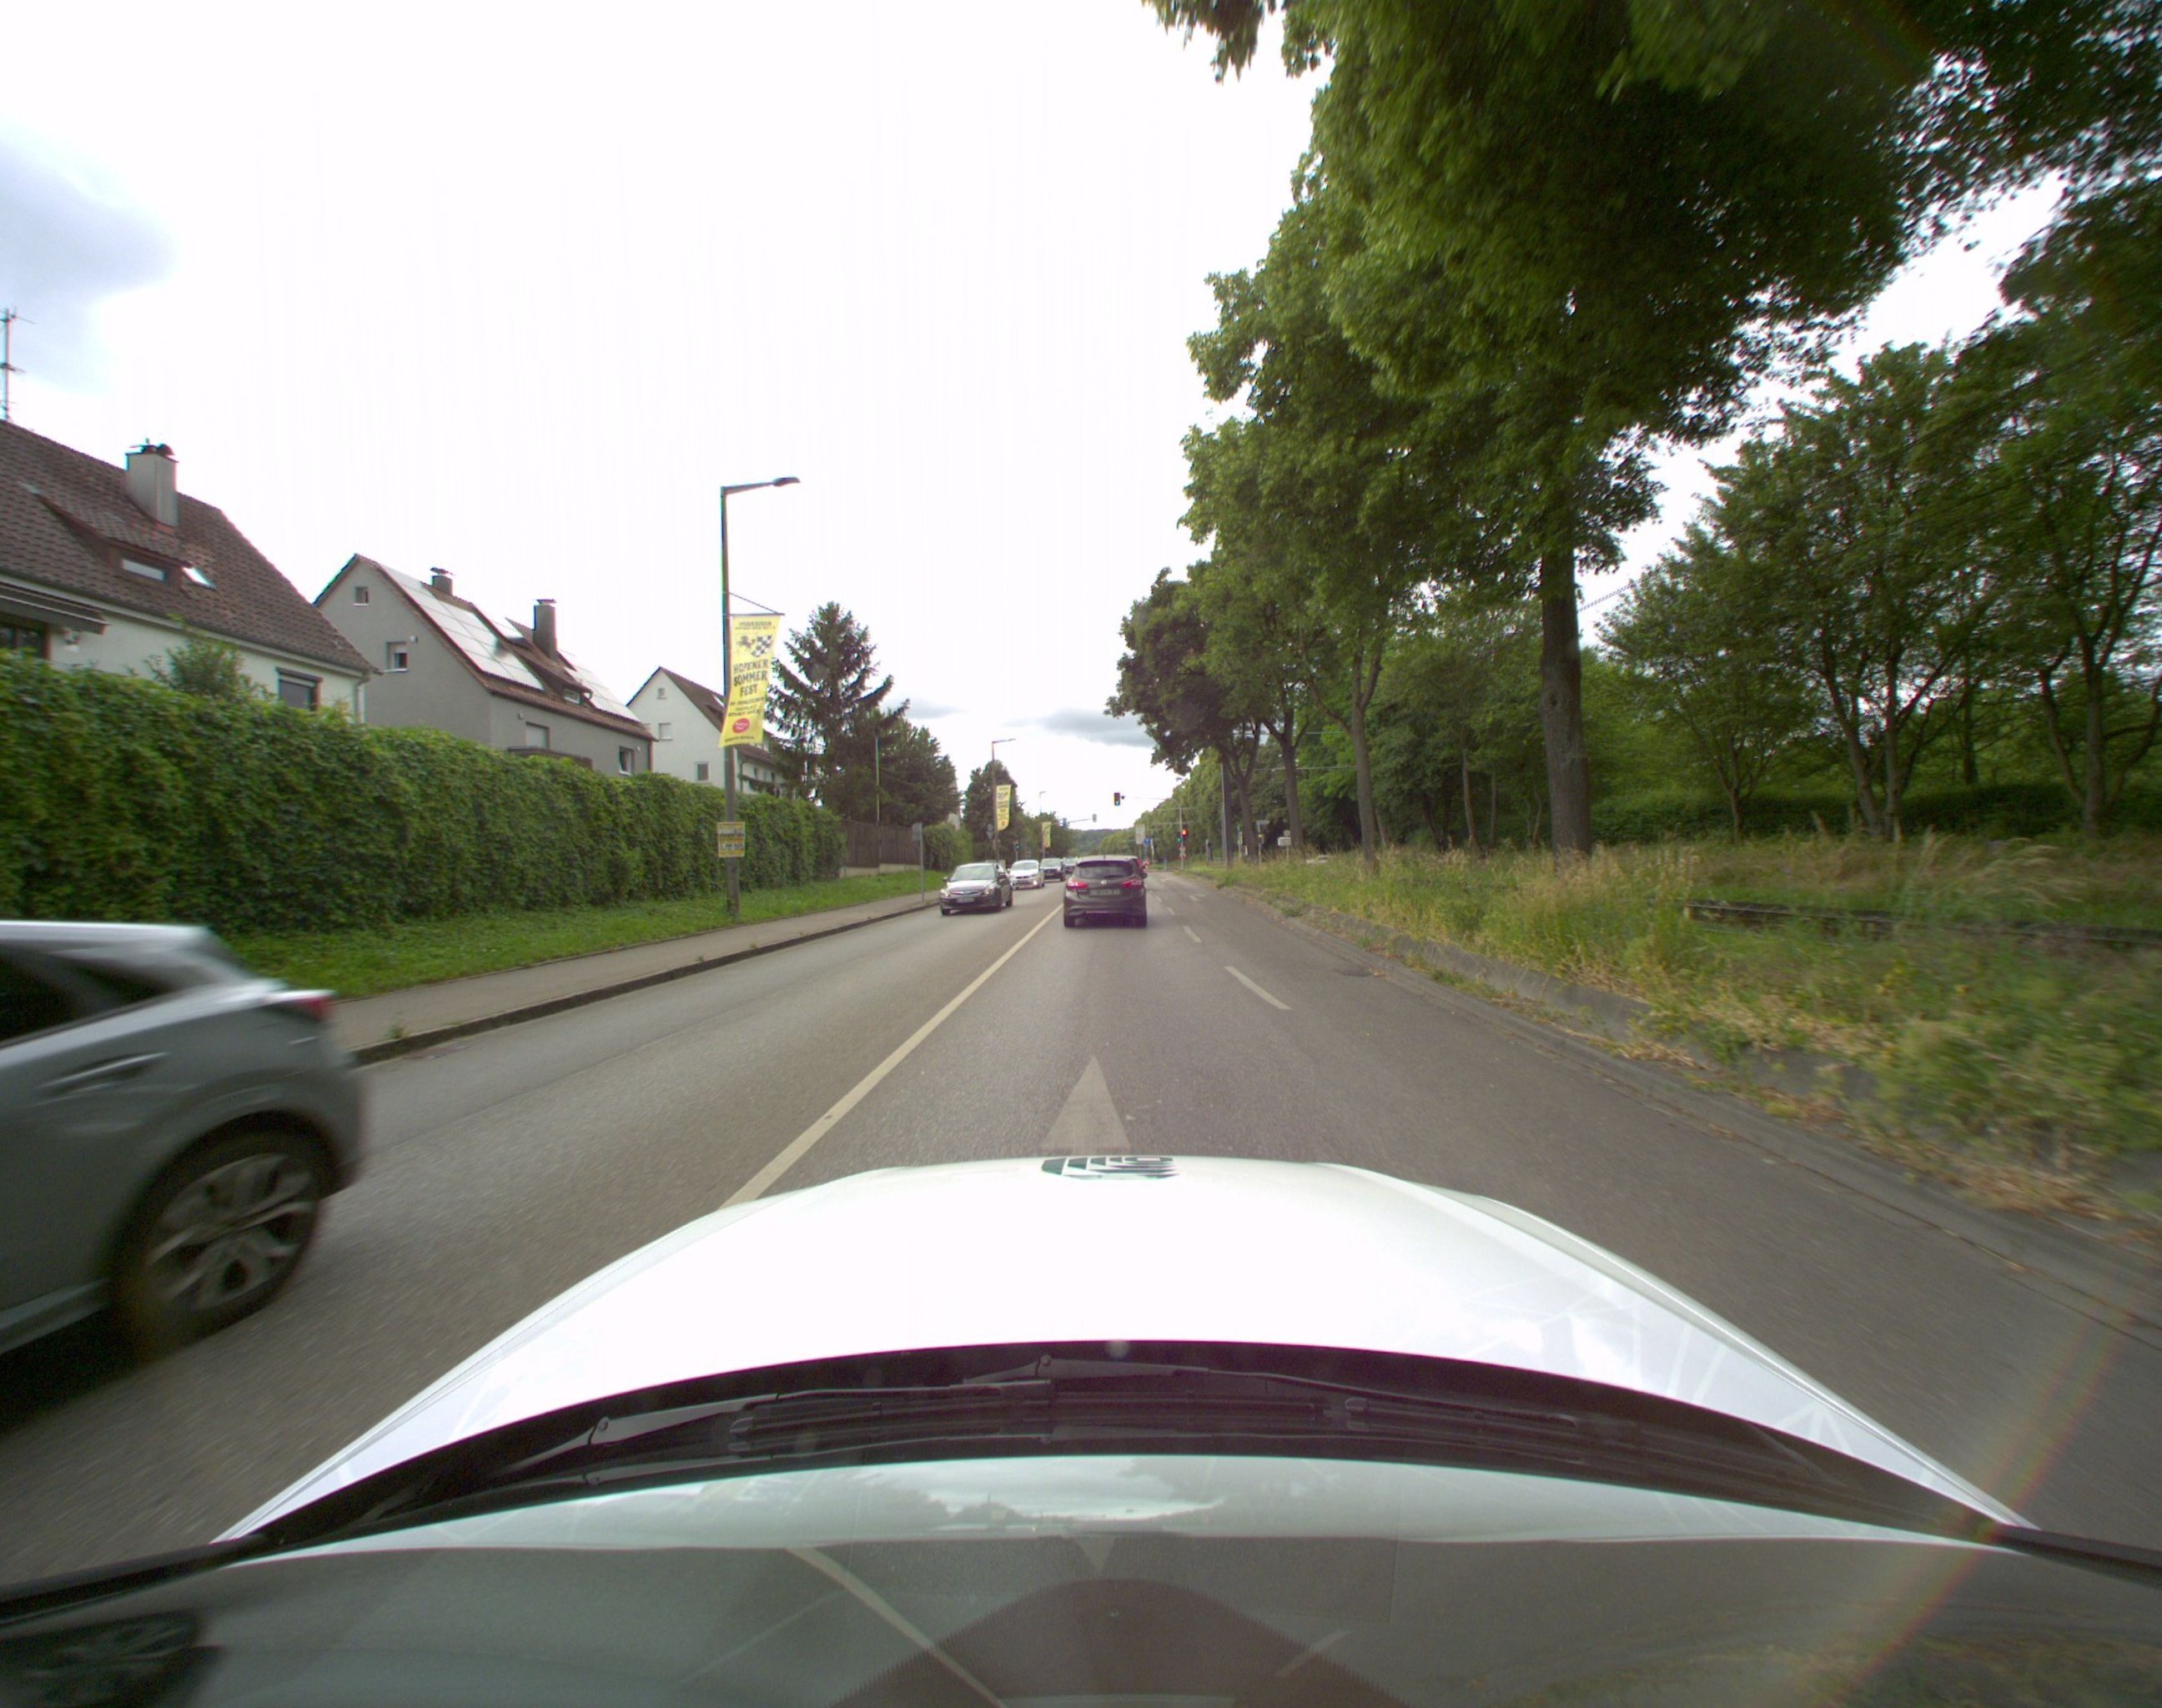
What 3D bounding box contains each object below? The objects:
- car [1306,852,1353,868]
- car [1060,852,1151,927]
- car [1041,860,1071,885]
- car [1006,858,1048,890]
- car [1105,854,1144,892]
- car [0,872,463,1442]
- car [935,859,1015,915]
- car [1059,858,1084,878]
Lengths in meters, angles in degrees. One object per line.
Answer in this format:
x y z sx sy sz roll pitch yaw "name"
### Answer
24.173 0.568 79.269 3.978 1.354 1.998 2 0 -3 "car"
0.611 0.722 18.801 1.828 1.519 4.486 0 0 3 "car"
-1.581 1.182 53.069 1.637 1.481 4.108 -4 0 1 "car"
-2.826 1.017 43.113 1.611 1.461 4.075 -5 0 3 "car"
1.852 0.763 34.897 1.532 1.478 3.767 -2 0 3 "car"
-3.875 0.903 1.816 1.745 1.518 4.002 -4 0 2 "car"
-3.187 0.968 25.291 1.721 1.464 4.155 -3 0 2 "car"
-0.755 1.139 66.945 1.806 1.524 4.178 -4 0 1 "car"
